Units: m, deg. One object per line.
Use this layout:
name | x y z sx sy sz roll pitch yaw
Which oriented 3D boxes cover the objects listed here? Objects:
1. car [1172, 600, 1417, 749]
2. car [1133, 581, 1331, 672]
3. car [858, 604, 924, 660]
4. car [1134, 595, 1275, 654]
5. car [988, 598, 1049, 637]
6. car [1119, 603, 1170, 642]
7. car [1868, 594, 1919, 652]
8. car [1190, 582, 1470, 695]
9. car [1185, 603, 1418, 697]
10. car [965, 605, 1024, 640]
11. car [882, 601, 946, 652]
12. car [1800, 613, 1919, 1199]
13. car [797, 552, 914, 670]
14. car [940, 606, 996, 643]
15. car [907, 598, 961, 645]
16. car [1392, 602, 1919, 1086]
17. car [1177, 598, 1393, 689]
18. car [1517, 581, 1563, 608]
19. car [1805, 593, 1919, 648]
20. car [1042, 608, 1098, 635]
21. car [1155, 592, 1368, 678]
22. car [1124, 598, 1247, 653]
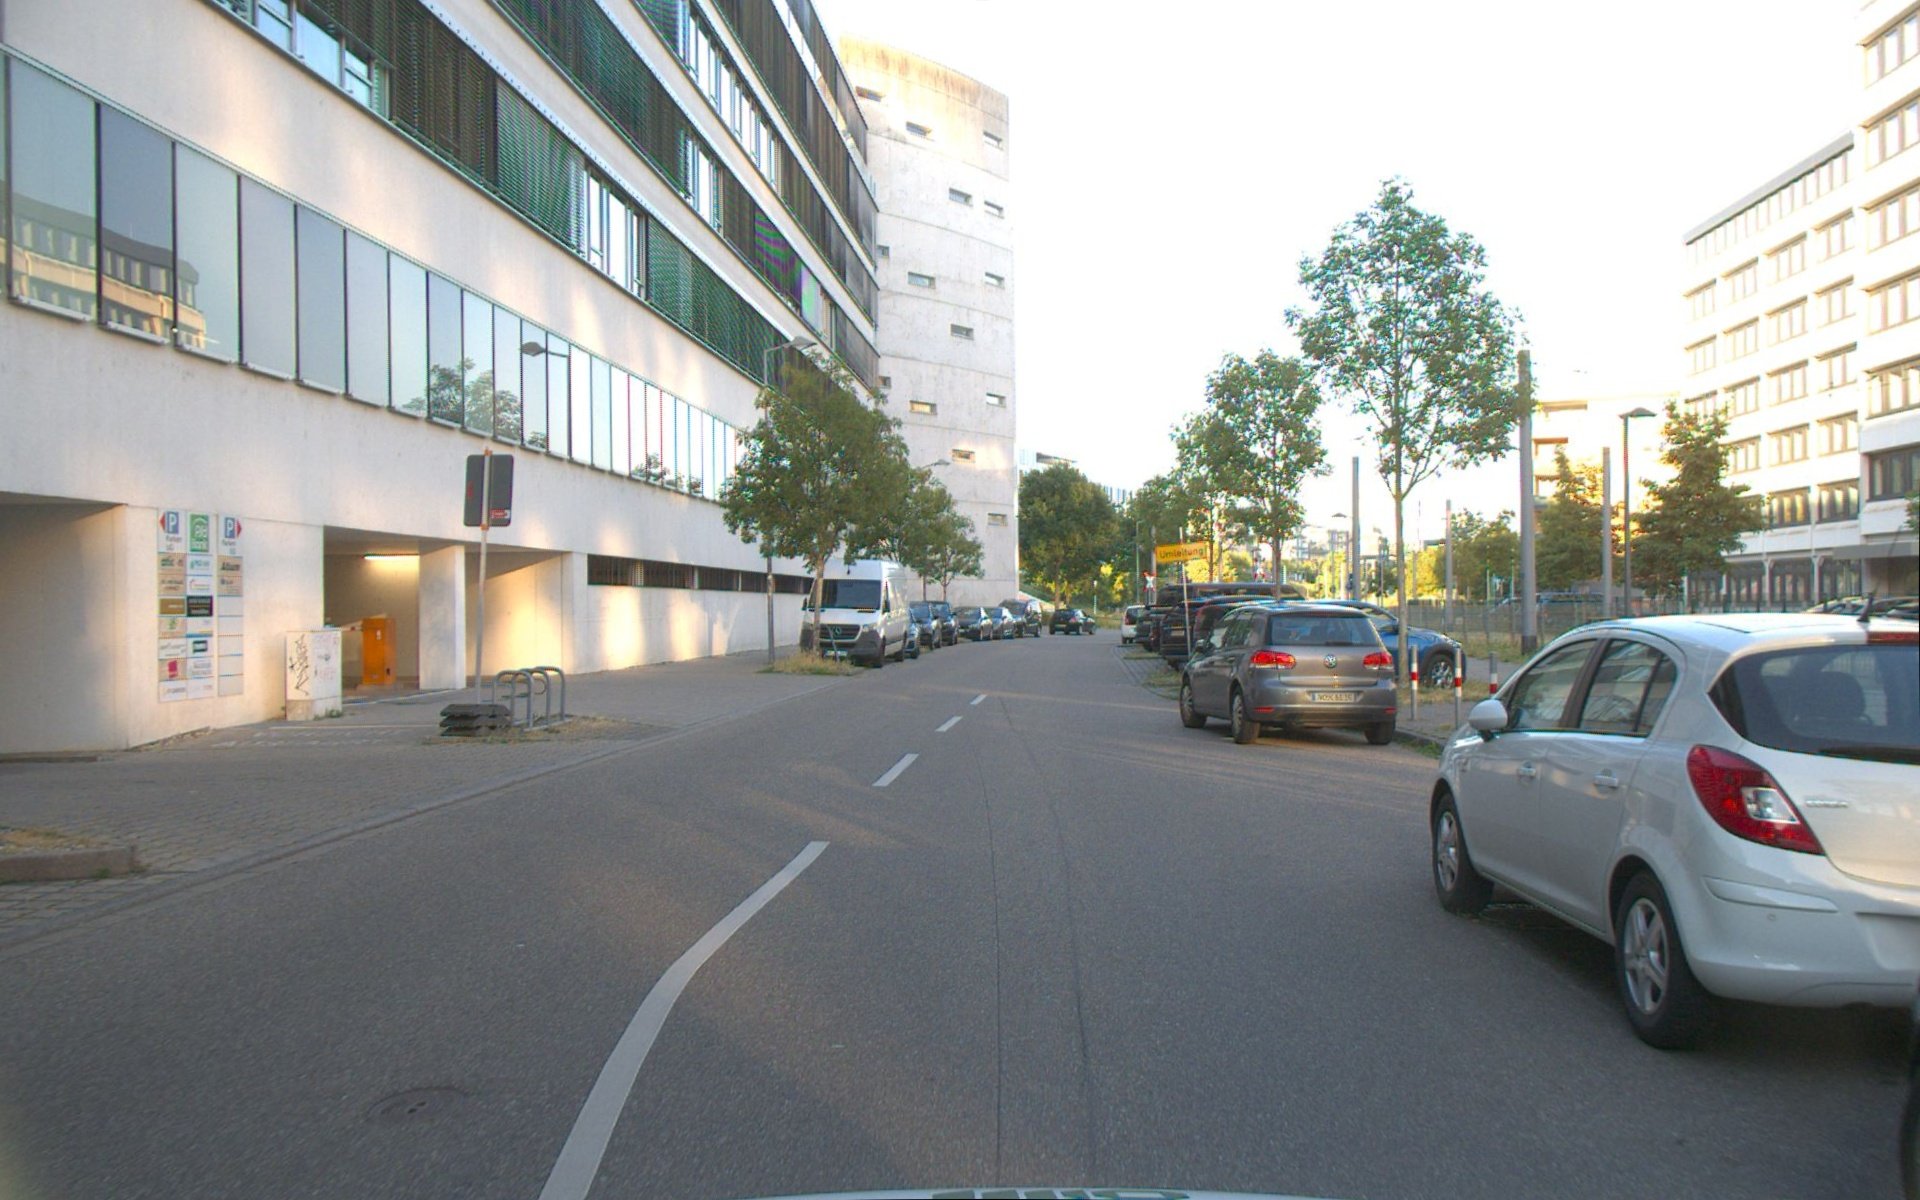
car | 3.706 0.788 19.006 1.697 1.491 3.996 2 -1 -5
car | 6.519 0.615 39.513 4.539 2.071 1.853 1 0 -30
car | -1.954 0.903 47.749 1.720 1.465 3.901 1 0 -1
car | 7.681 0.771 52.016 3.921 1.668 1.958 -2 -1 -24
car | 2.930 0.843 81.432 1.720 1.830 4.464 1 0 19
car | 7.420 0.877 66.358 1.685 1.493 3.556 -1 0 12
car | 25.383 0.630 41.854 3.904 1.422 1.592 2 0 2
car | 5.661 0.564 25.244 3.948 1.547 1.907 -1 -1 -32
car | 5.955 0.819 28.687 3.952 1.490 1.716 0 0 -34
car | 1.619 1.014 76.407 1.686 1.483 4.697 1 0 14
car | -1.538 0.874 56.562 1.719 1.588 4.045 1 0 4
car | 3.015 0.778 2.017 1.750 1.477 4.516 0 0 1
car | -2.496 0.222 41.401 1.917 2.662 6.896 1 0 4
car | 0.377 1.021 71.041 1.685 1.483 4.275 1 0 10
car | -0.945 0.790 62.718 1.719 1.682 3.950 1 0 3
car | 3.211 0.754 7.183 1.641 1.477 4.188 0 0 1
car | 6.230 0.835 31.575 3.948 1.623 1.718 2 -1 -32
car | 57.962 -0.576 165.280 4.072 2.629 1.701 -1 -1 26
car | 25.843 0.580 45.905 3.904 1.422 1.592 2 0 2
car | 6.137 1.157 91.641 1.904 1.407 4.400 2 0 20
car | 6.673 0.756 36.489 4.539 1.779 1.853 1 0 -30
car | 7.473 0.833 54.772 3.725 1.756 1.747 1 0 -29
